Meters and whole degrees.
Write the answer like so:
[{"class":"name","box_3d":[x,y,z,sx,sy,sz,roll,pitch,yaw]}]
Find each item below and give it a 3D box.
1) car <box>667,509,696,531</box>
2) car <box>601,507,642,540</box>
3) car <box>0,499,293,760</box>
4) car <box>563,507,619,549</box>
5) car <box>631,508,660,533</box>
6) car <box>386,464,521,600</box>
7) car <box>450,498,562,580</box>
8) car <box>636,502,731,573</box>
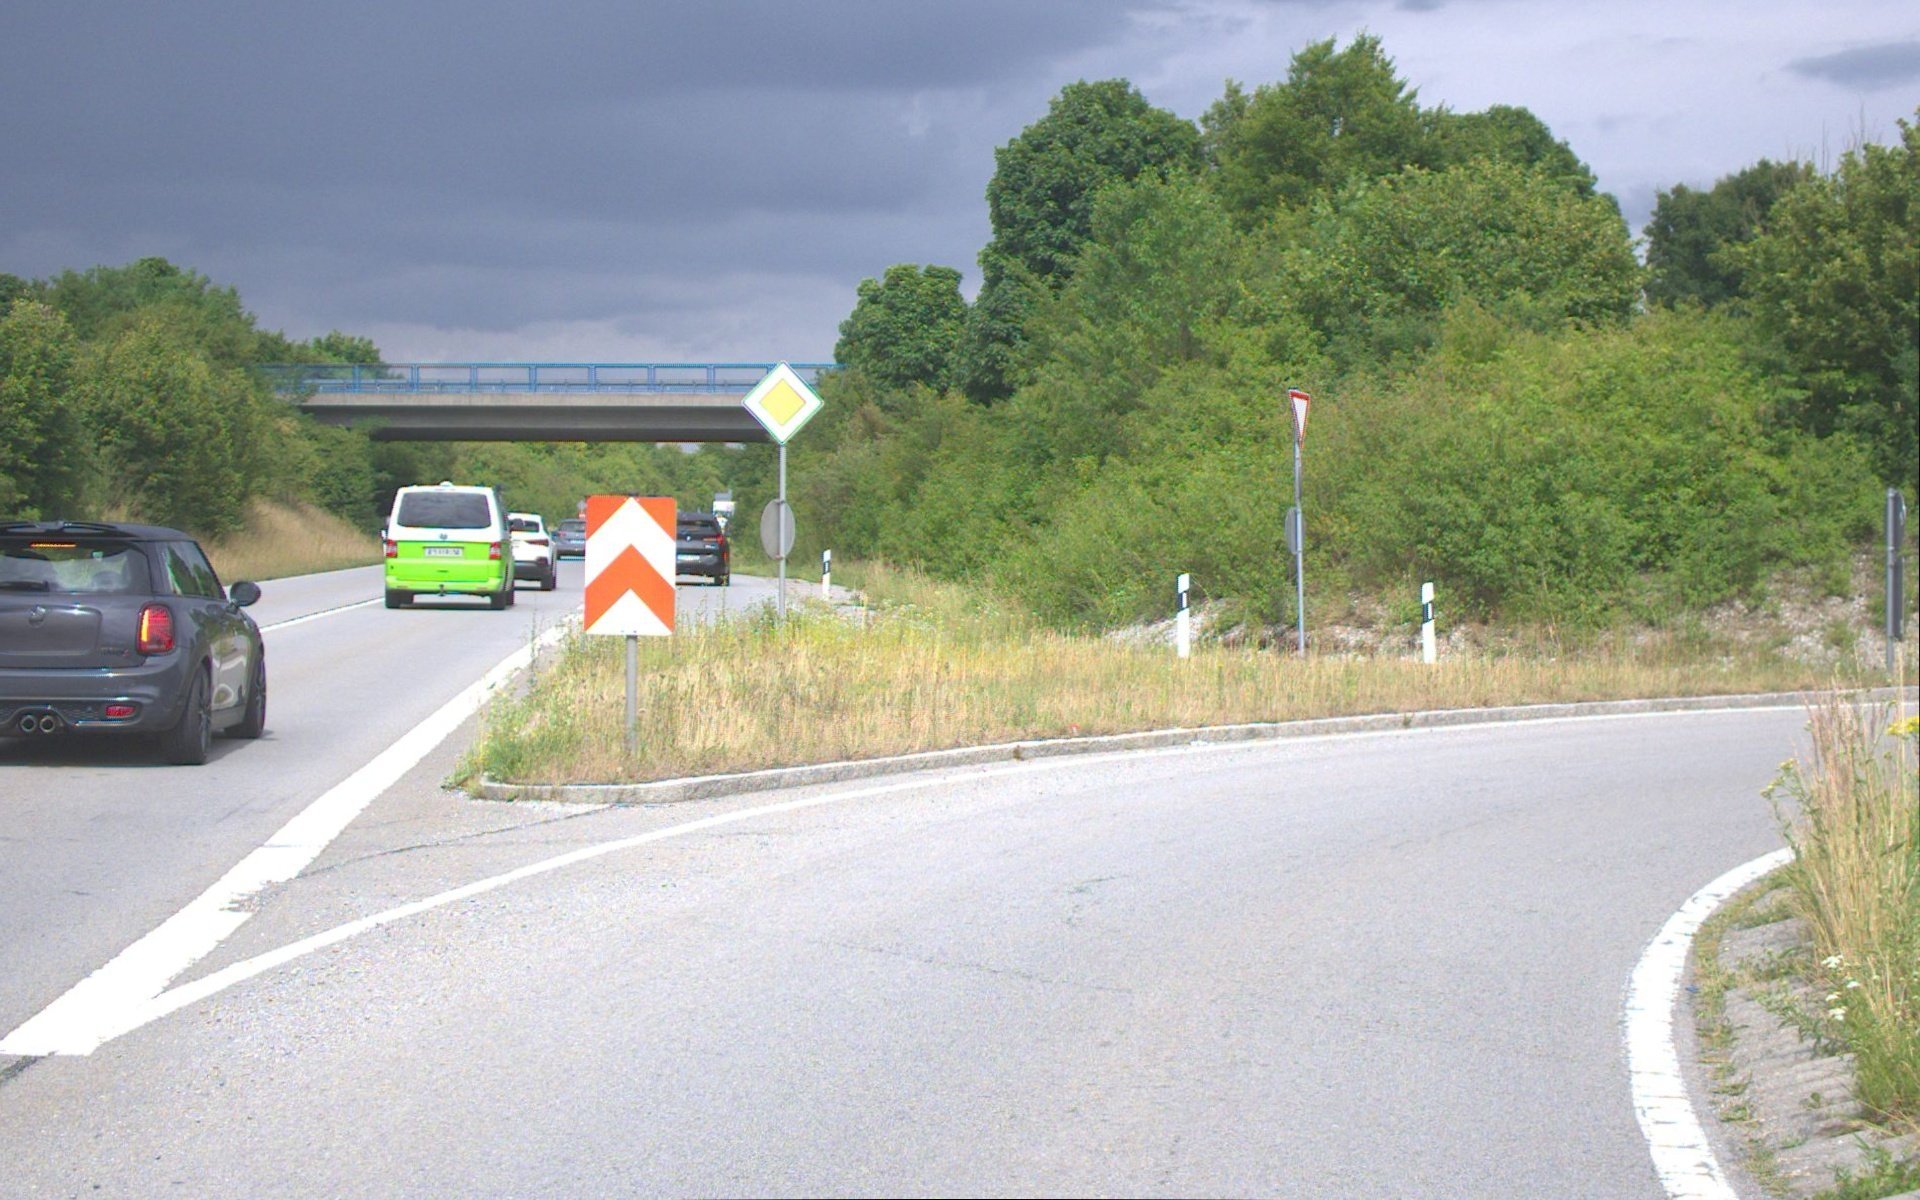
[{"class":"car","box_3d":[-18.454,-5.276,227.743,1.667,1.398,4.001,1,1,-2]},{"class":"car","box_3d":[-14.741,-3.342,149.716,1.667,1.398,4.001,1,1,-4]},{"class":"car","box_3d":[-5.272,0.111,21.295,1.756,1.422,4.001,2,1,-4]},{"class":"car","box_3d":[-12.842,-2.512,119.736,1.667,1.398,4.001,1,1,-3]},{"class":"car","box_3d":[-18.692,-4.724,204.492,1.667,1.398,4.001,1,1,-5]},{"class":"car","box_3d":[-8.063,-1.099,55.000,1.819,2.047,4.001,2,1,-4]},{"class":"car","box_3d":[-9.224,-1.262,70.066,1.993,1.546,4.001,2,1,-4]},{"class":"car","box_3d":[-6.402,-1.461,79.302,1.993,1.546,4.001,2,1,-6]}]
